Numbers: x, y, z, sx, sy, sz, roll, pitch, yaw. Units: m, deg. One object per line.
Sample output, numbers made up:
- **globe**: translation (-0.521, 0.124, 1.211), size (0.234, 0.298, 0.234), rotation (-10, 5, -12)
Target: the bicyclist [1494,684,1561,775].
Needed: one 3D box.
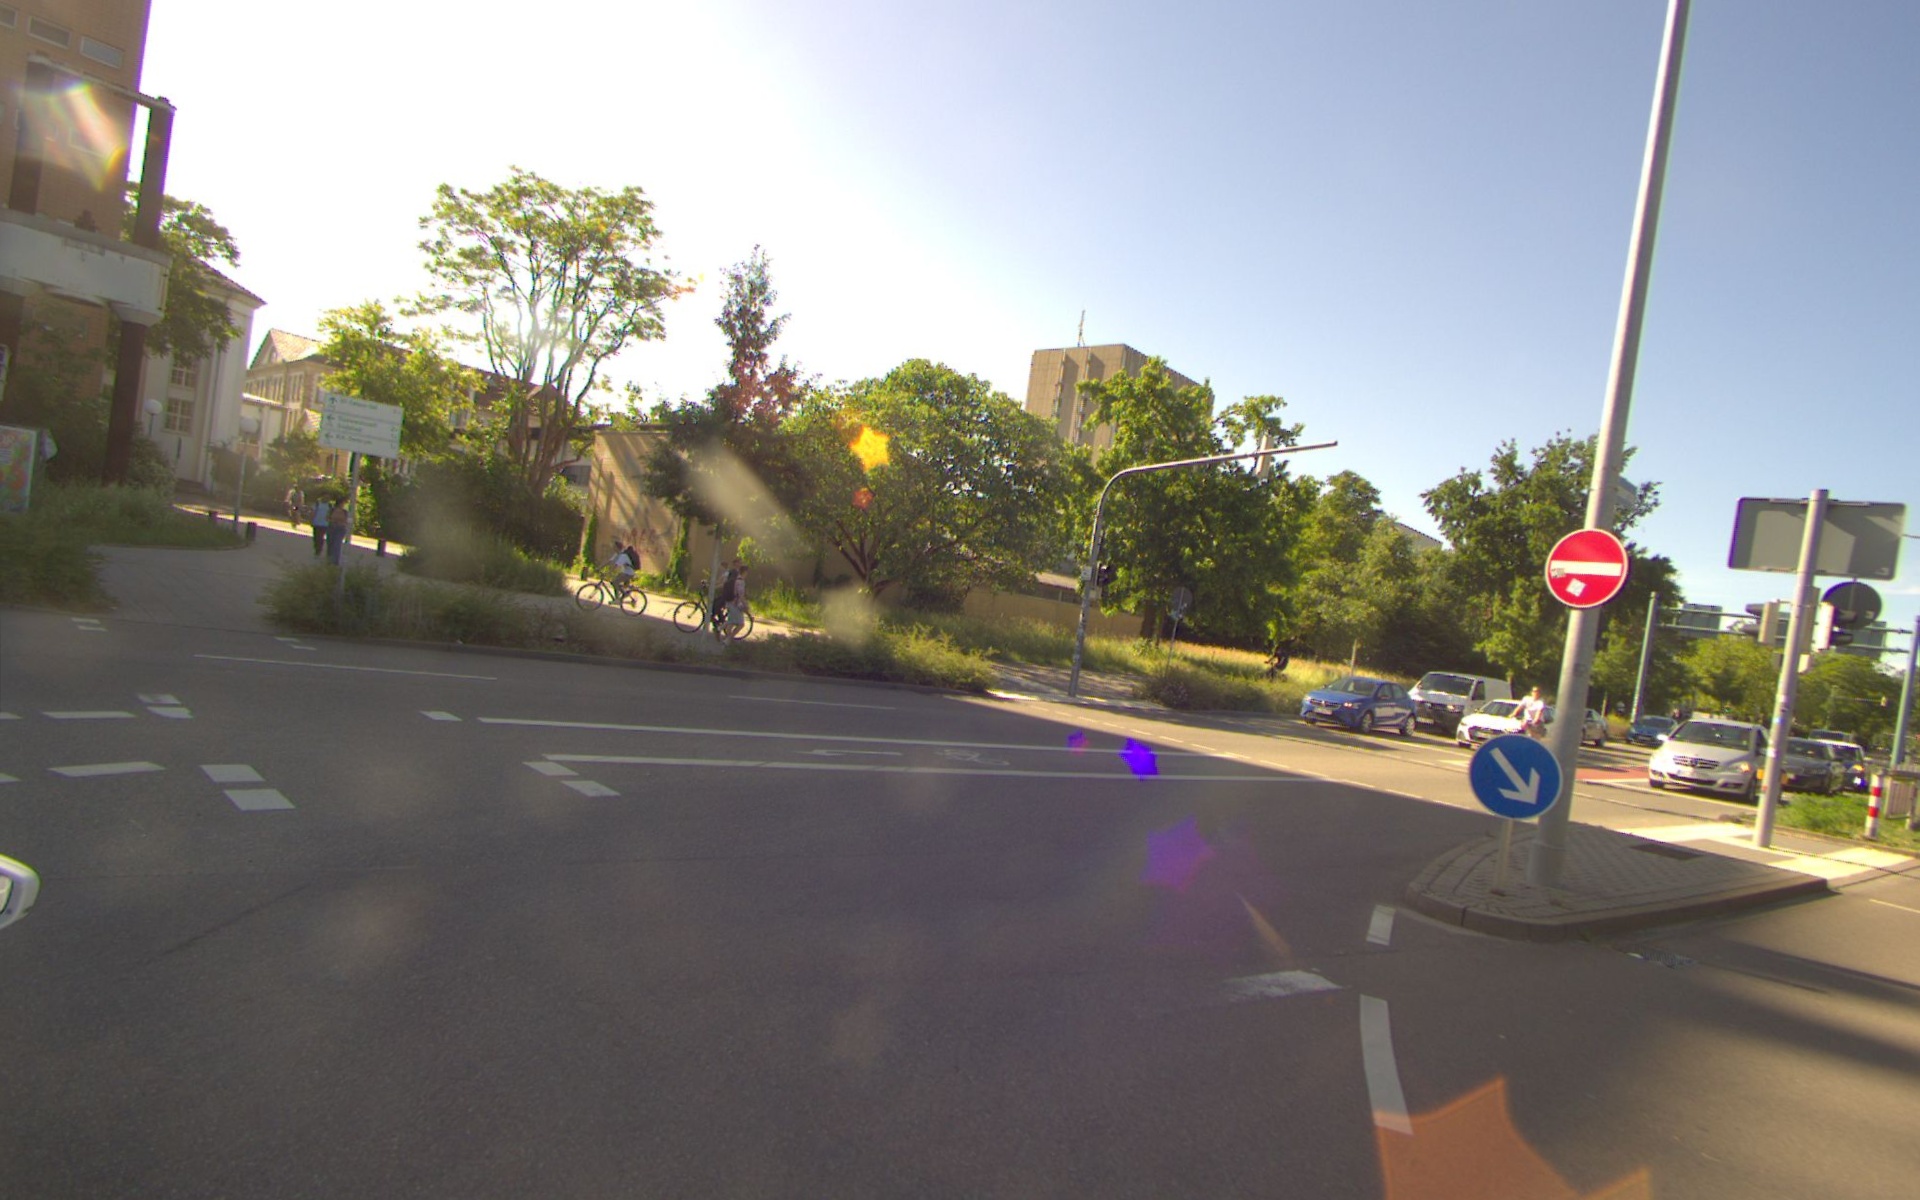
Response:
- **bicyclist**: translation (11.677, 2.651, 20.701), size (0.971, 1.707, 0.737), rotation (6, 3, -44)

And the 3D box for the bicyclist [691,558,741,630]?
- **bicyclist**: translation (-5.471, -0.129, 22.546), size (0.768, 1.463, 0.638), rotation (8, 3, -28)

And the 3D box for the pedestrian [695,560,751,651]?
- **pedestrian**: translation (-5.066, 0.114, 21.507), size (0.728, 1.802, 0.726), rotation (10, -1, -28)

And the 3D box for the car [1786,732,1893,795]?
- **car**: translation (28.543, 5.311, 32.592), size (4.694, 1.572, 1.960), rotation (9, -1, -42)

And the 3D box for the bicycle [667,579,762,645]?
- **bicycle**: translation (-5.497, 0.274, 22.584), size (1.849, 1.180, 0.638), rotation (8, 3, -28)

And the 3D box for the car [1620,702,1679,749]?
- **car**: translation (32.846, 5.998, 47.890), size (1.819, 1.851, 4.376), rotation (7, -1, 39)

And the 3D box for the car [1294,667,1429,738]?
- **car**: translation (10.860, 2.785, 27.107), size (3.975, 1.459, 1.685), rotation (9, -1, -42)

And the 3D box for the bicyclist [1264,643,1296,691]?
- **bicyclist**: translation (11.937, 2.502, 37.549), size (0.634, 1.665, 0.772), rotation (10, 1, 44)

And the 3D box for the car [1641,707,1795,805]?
- **car**: translation (16.428, 3.372, 21.729), size (4.289, 1.644, 1.768), rotation (9, -1, -42)

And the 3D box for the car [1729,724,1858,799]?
- **car**: translation (22.981, 4.456, 27.669), size (4.694, 1.572, 1.960), rotation (9, -1, -42)

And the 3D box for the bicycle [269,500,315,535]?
- **bicycle**: translation (-26.502, -3.264, 39.938), size (0.736, 1.179, 1.866), rotation (8, 0, -11)

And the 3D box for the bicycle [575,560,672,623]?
- **bicycle**: translation (-7.894, -0.182, 23.621), size (1.940, 1.180, 0.636), rotation (8, 4, -37)

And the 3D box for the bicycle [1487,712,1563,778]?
- **bicycle**: translation (11.659, 2.968, 20.740), size (1.858, 1.180, 0.739), rotation (7, 2, -44)

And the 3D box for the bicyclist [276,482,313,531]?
- **bicyclist**: translation (-26.451, -3.708, 39.994), size (0.710, 1.756, 0.975), rotation (8, 1, -11)

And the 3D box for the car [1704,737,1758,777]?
- **car**: translation (46.806, 9.527, 61.030), size (1.914, 1.975, 4.733), rotation (7, -1, 44)

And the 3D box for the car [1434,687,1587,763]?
- **car**: translation (14.567, 3.311, 26.557), size (3.968, 1.486, 1.979), rotation (9, 0, -38)

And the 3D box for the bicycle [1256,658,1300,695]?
- **bicycle**: translation (11.894, 2.853, 37.571), size (0.634, 1.179, 1.860), rotation (10, 1, 45)

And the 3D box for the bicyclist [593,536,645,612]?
- **bicyclist**: translation (-7.960, -0.612, 23.478), size (0.825, 1.616, 0.624), rotation (7, 4, -36)

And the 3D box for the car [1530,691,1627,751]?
- **car**: translation (24.039, 4.720, 39.062), size (4.333, 1.820, 1.916), rotation (9, -1, -42)

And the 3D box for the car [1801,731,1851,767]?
- **car**: translation (57.827, 9.977, 67.179), size (4.505, 1.975, 1.915), rotation (9, -1, -43)

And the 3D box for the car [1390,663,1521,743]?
- **car**: translation (15.684, 3.279, 31.723), size (4.727, 1.975, 1.916), rotation (9, -1, -42)

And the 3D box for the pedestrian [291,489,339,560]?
- **pedestrian**: translation (-16.308, -1.896, 25.453), size (0.669, 1.662, 0.732), rotation (10, -1, -23)

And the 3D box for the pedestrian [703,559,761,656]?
- **pedestrian**: translation (-4.679, 0.147, 20.625), size (0.728, 1.837, 0.726), rotation (10, -1, -28)

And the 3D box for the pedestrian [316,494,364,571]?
- **pedestrian**: translation (-14.559, -1.578, 23.639), size (0.671, 1.662, 0.730), rotation (10, -1, -29)
